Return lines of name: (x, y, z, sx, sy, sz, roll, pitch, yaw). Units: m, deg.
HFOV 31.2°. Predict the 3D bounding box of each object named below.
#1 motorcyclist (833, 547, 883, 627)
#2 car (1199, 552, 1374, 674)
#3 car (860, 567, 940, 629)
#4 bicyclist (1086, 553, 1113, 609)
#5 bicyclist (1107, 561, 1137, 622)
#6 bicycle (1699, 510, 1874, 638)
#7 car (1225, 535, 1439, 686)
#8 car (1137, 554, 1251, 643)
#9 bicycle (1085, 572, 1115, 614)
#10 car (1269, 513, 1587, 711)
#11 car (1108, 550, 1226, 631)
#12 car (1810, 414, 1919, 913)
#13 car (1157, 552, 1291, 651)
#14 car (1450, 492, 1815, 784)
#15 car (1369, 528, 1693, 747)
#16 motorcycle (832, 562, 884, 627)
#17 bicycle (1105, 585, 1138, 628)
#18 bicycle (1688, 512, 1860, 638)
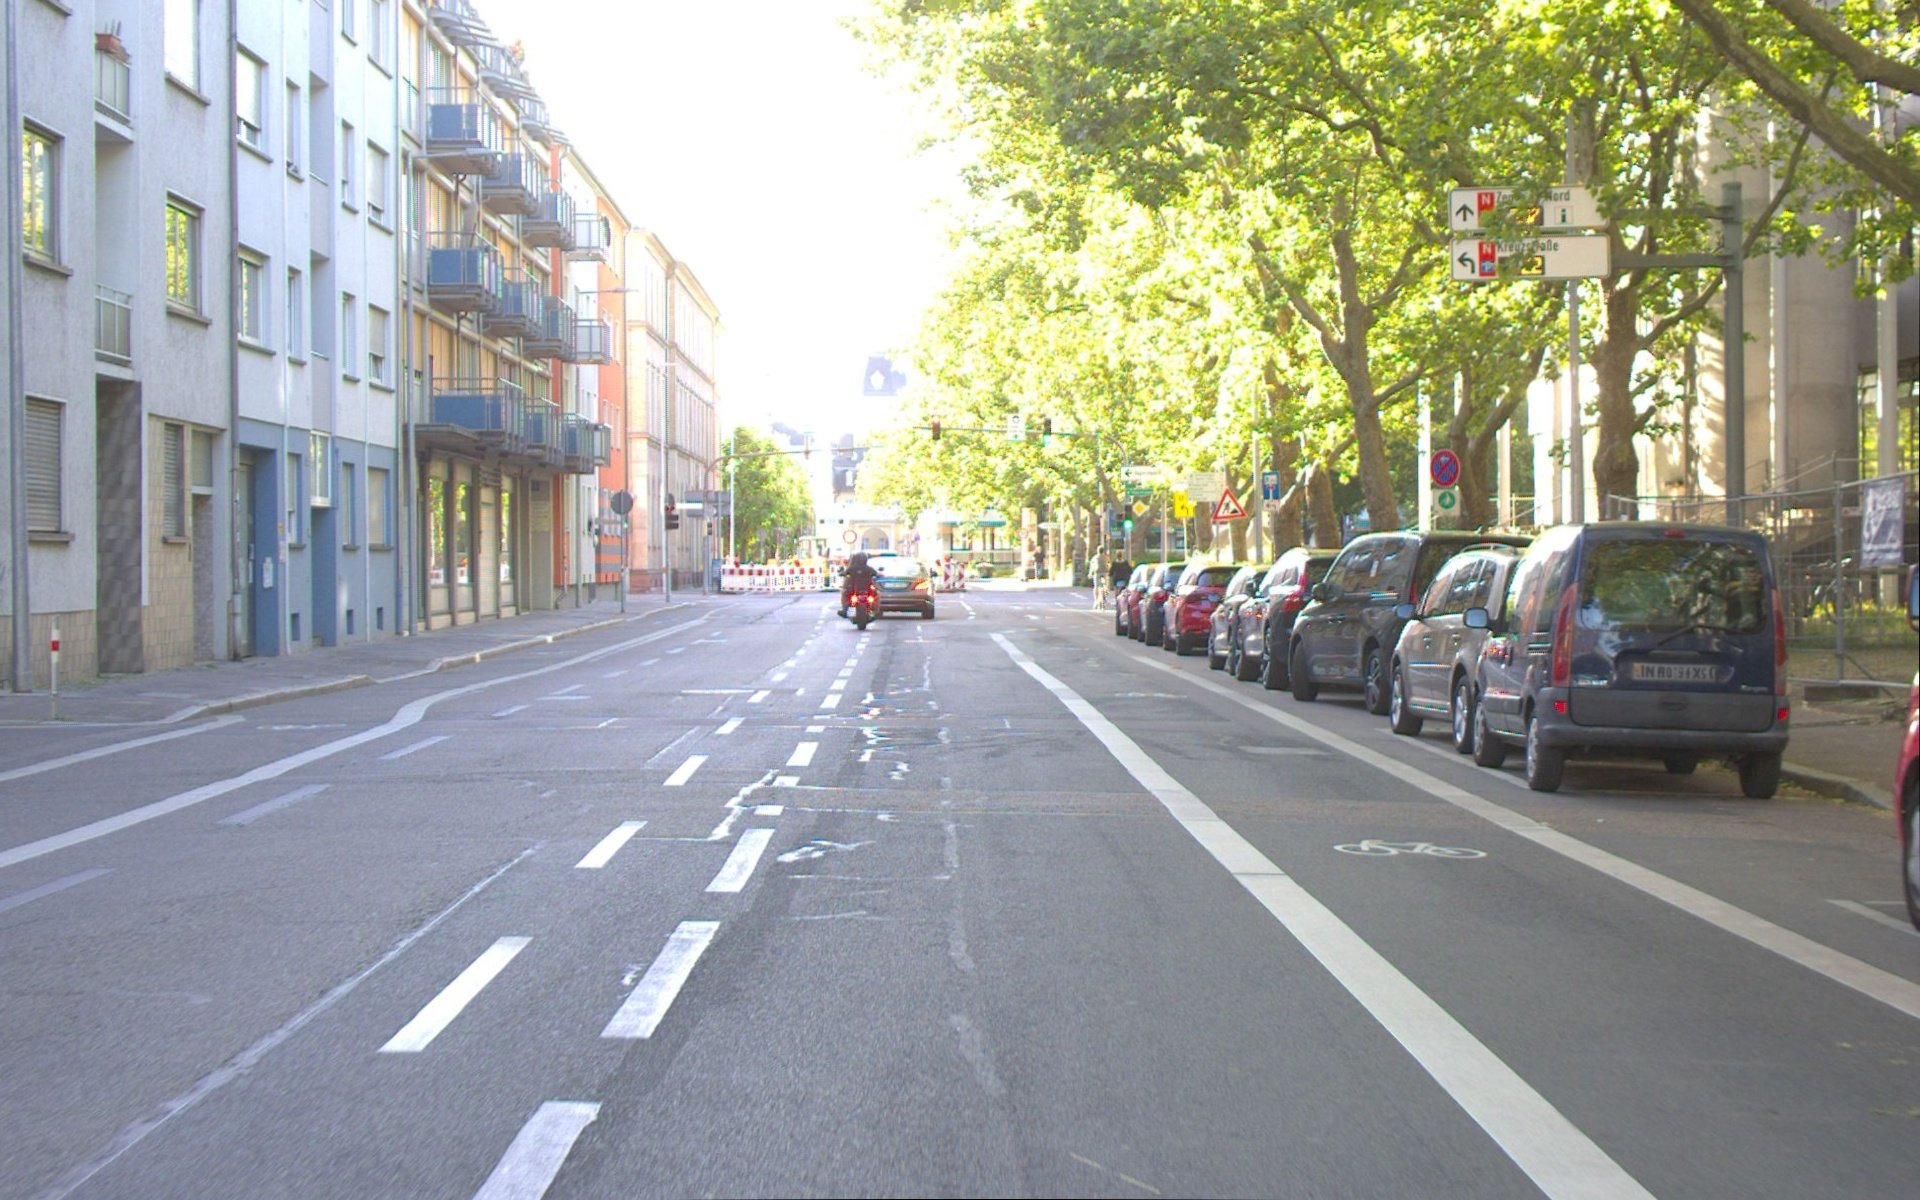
motorcyclist: (-2.075, -0.271, 70.032, 1.012, 1.597, 1.406, 0, 0, -2)
car: (4.292, 0.154, 45.685, 1.692, 1.498, 4.021, 2, 0, -3)
car: (-1.431, -0.061, 80.695, 1.828, 1.415, 3.815, 0, 0, -2)
bicyclist: (3.829, -0.522, 94.494, 0.656, 1.525, 0.906, 1, 0, -1)
bicyclist: (4.046, -0.211, 86.021, 0.656, 1.525, 0.852, 1, 0, -1)
bicycle: (13.175, -0.409, 54.820, 2.597, 2.007, 0.742, -1, 0, -1)
car: (4.297, 0.101, 40.383, 1.775, 1.622, 4.621, 2, 0, -2)
car: (4.071, -0.042, 60.306, 1.693, 1.461, 4.065, 2, 0, 0)
bicycle: (3.827, -0.191, 94.386, 0.656, 1.107, 2.186, 1, 0, -2)
car: (4.686, 0.091, 35.186, 1.824, 1.835, 4.901, 2, 0, -9)
car: (3.909, -0.186, 65.509, 1.692, 1.444, 4.436, 2, 0, -3)
car: (4.931, 0.285, 12.572, 2.078, 1.987, 5.172, 2, 0, -3)
car: (4.180, 0.006, 54.972, 1.693, 1.474, 4.318, 2, 0, -1)
car: (4.563, 0.229, 23.892, 1.693, 1.806, 4.130, 2, 0, 0)
car: (4.623, 0.274, 28.432, 1.692, 1.622, 4.330, 2, 0, -3)
motorcycle: (-2.074, -0.118, 70.055, 1.012, 1.302, 2.673, 0, 0, -2)
bicycle: (4.038, 0.162, 86.016, 0.656, 1.066, 1.927, 1, 0, -2)
bicycle: (13.190, -0.407, 55.751, 2.597, 2.007, 0.742, -1, 0, -1)
